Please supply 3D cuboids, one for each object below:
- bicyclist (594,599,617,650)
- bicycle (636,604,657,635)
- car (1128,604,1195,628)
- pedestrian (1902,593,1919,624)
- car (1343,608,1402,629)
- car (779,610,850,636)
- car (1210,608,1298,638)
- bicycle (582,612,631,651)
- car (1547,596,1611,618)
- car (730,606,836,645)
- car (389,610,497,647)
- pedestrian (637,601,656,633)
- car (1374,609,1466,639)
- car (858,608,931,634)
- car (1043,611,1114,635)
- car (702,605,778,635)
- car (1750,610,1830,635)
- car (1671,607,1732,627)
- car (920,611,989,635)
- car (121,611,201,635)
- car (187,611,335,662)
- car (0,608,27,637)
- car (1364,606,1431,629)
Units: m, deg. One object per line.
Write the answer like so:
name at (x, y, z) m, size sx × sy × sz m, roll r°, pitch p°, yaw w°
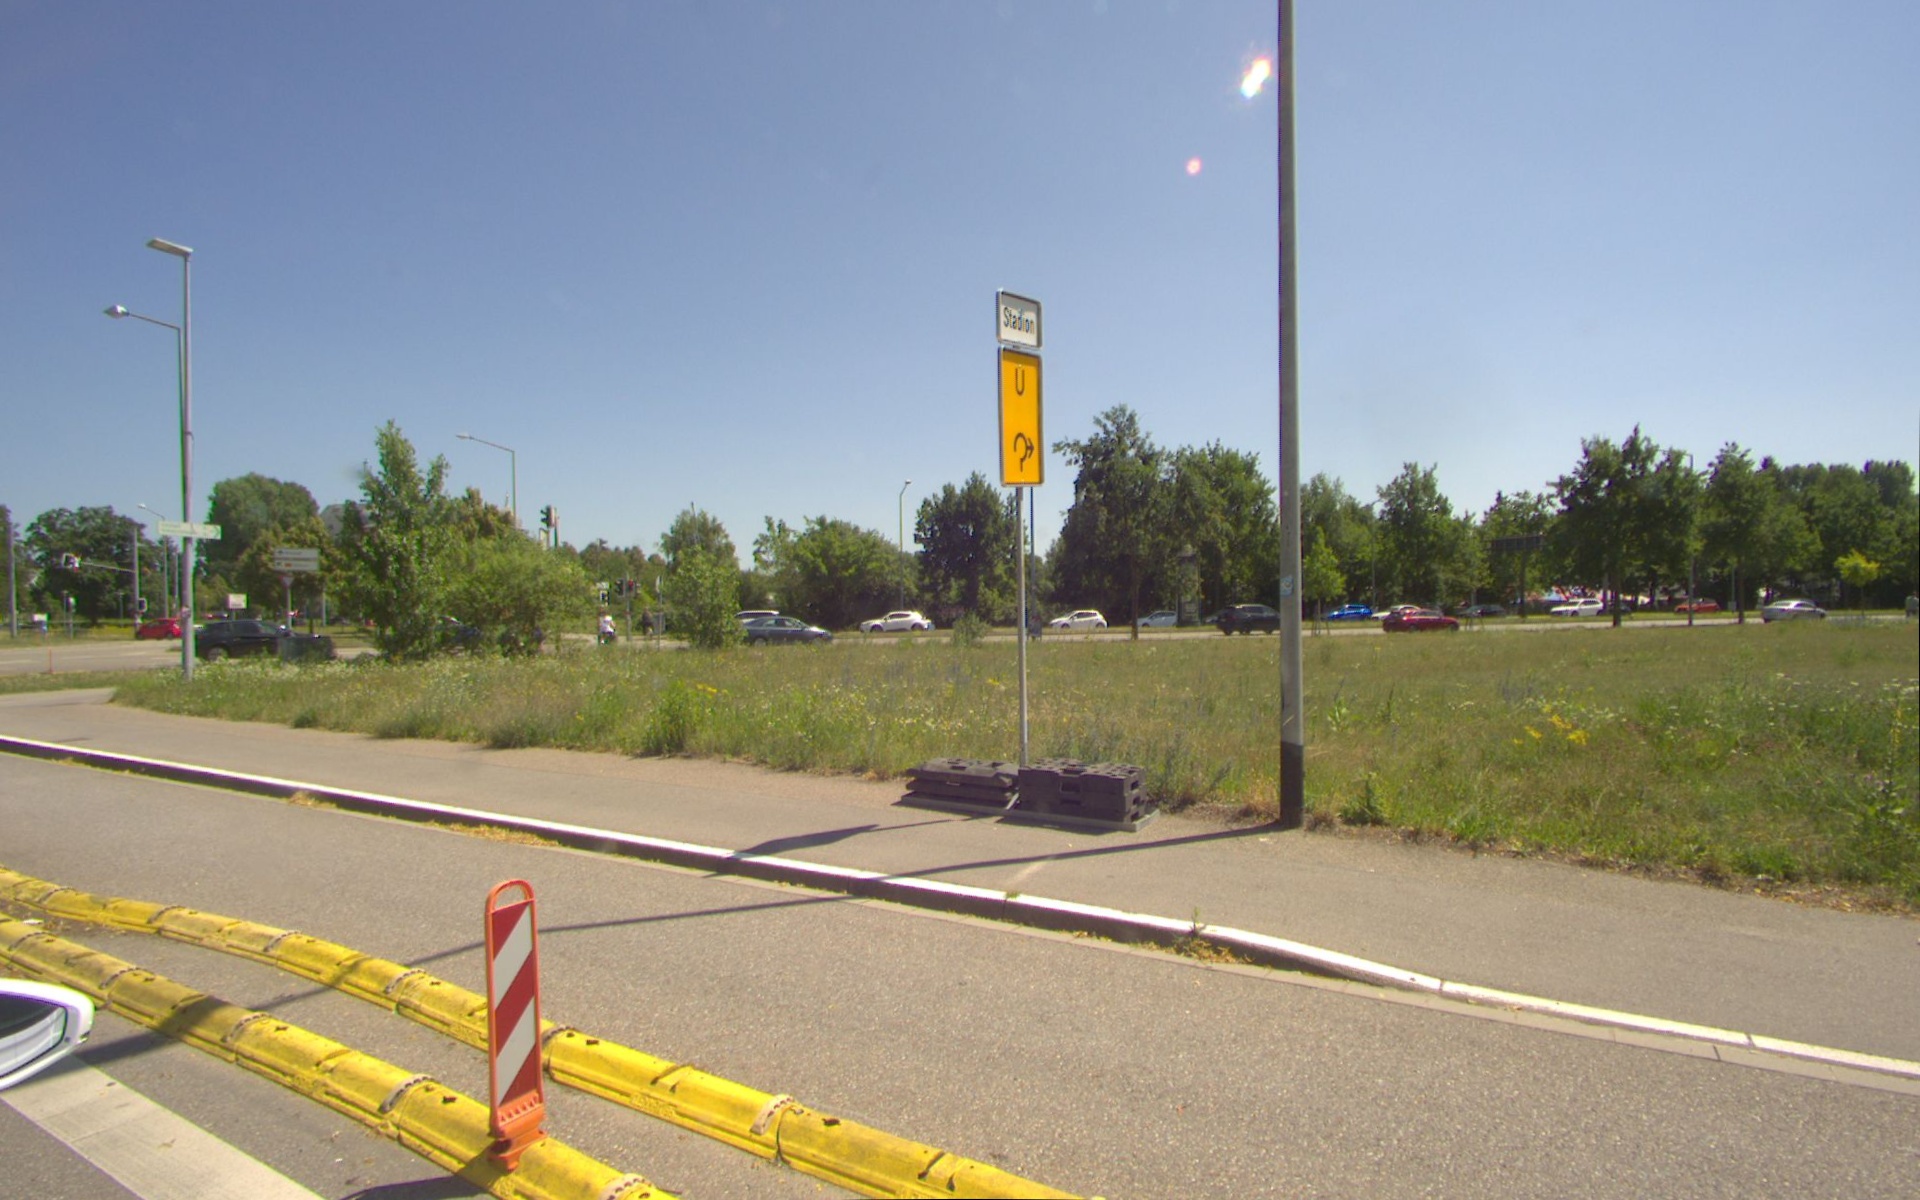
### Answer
bicyclist at (-13.153, 0.920, 37.161) m, size 0.597 × 1.864 × 0.572 m, roll 0°, pitch -1°, yaw 2°
bicycle at (-16.752, 1.049, 53.559) m, size 0.967 × 1.617 × 2.879 m, roll 0°, pitch -2°, yaw -16°
car at (14.521, 1.144, 72.187) m, size 4.365 × 1.613 × 1.845 m, roll 0°, pitch 0°, yaw -16°
pedestrian at (50.032, 0.435, 52.599) m, size 0.548 × 1.611 × 0.662 m, roll 1°, pitch -1°, yaw -32°
car at (31.728, 1.418, 76.982) m, size 3.927 × 1.558 × 1.764 m, roll 0°, pitch -2°, yaw -14°
car at (-9.404, 1.497, 64.804) m, size 4.365 × 1.612 × 1.846 m, roll 0°, pitch -2°, yaw -16°
car at (16.398, 1.266, 55.840) m, size 4.340 × 1.617 × 1.996 m, roll 0°, pitch 0°, yaw -16°
bicycle at (-13.144, 1.175, 37.304) m, size 0.628 × 1.370 × 2.896 m, roll 0°, pitch -2°, yaw 4°
car at (48.561, 0.580, 78.581) m, size 4.366 × 1.612 × 1.846 m, roll 0°, pitch -2°, yaw -17°
car at (-7.871, 1.108, 44.414) m, size 4.346 × 1.617 × 1.994 m, roll 0°, pitch 1°, yaw -22°
car at (-22.720, 1.280, 44.069) m, size 3.956 × 1.571 × 1.714 m, roll 1°, pitch -2°, yaw -40°
pedestrian at (-16.708, 0.914, 53.421) m, size 0.954 × 1.681 × 0.885 m, roll 0°, pitch -1°, yaw -16°
car at (25.072, 1.324, 54.620) m, size 4.340 × 1.546 × 1.998 m, roll 0°, pitch -2°, yaw -15°
car at (-4.152, 1.363, 63.506) m, size 4.365 × 1.612 × 1.846 m, roll 0°, pitch -2°, yaw -16°
car at (7.926, 1.560, 67.011) m, size 4.365 × 1.612 × 1.846 m, roll 0°, pitch -2°, yaw -16°
car at (-13.307, 1.216, 60.487) m, size 4.365 × 1.758 × 1.846 m, roll 0°, pitch -2°, yaw -16°
car at (52.426, 1.395, 63.247) m, size 4.344 × 1.547 × 1.995 m, roll 0°, pitch 0°, yaw -20°
car at (61.358, 1.385, 82.892) m, size 4.337 × 1.612 × 1.846 m, roll 0°, pitch -2°, yaw -16°
car at (-0.368, 1.578, 67.607) m, size 4.365 × 1.612 × 1.846 m, roll 0°, pitch -2°, yaw -16°
car at (-56.717, 1.621, 71.146) m, size 4.262 × 1.675 × 1.902 m, roll 0°, pitch -2°, yaw 3°
car at (-23.446, 1.174, 33.676) m, size 3.956 × 1.573 × 1.712 m, roll 0°, pitch 2°, yaw -41°
car at (-73.340, 1.698, 74.592) m, size 5.232 × 2.097 × 1.992 m, roll 0°, pitch -2°, yaw -15°
car at (32.460, 1.307, 74.308) m, size 4.365 × 1.612 × 1.846 m, roll 0°, pitch -2°, yaw -16°
